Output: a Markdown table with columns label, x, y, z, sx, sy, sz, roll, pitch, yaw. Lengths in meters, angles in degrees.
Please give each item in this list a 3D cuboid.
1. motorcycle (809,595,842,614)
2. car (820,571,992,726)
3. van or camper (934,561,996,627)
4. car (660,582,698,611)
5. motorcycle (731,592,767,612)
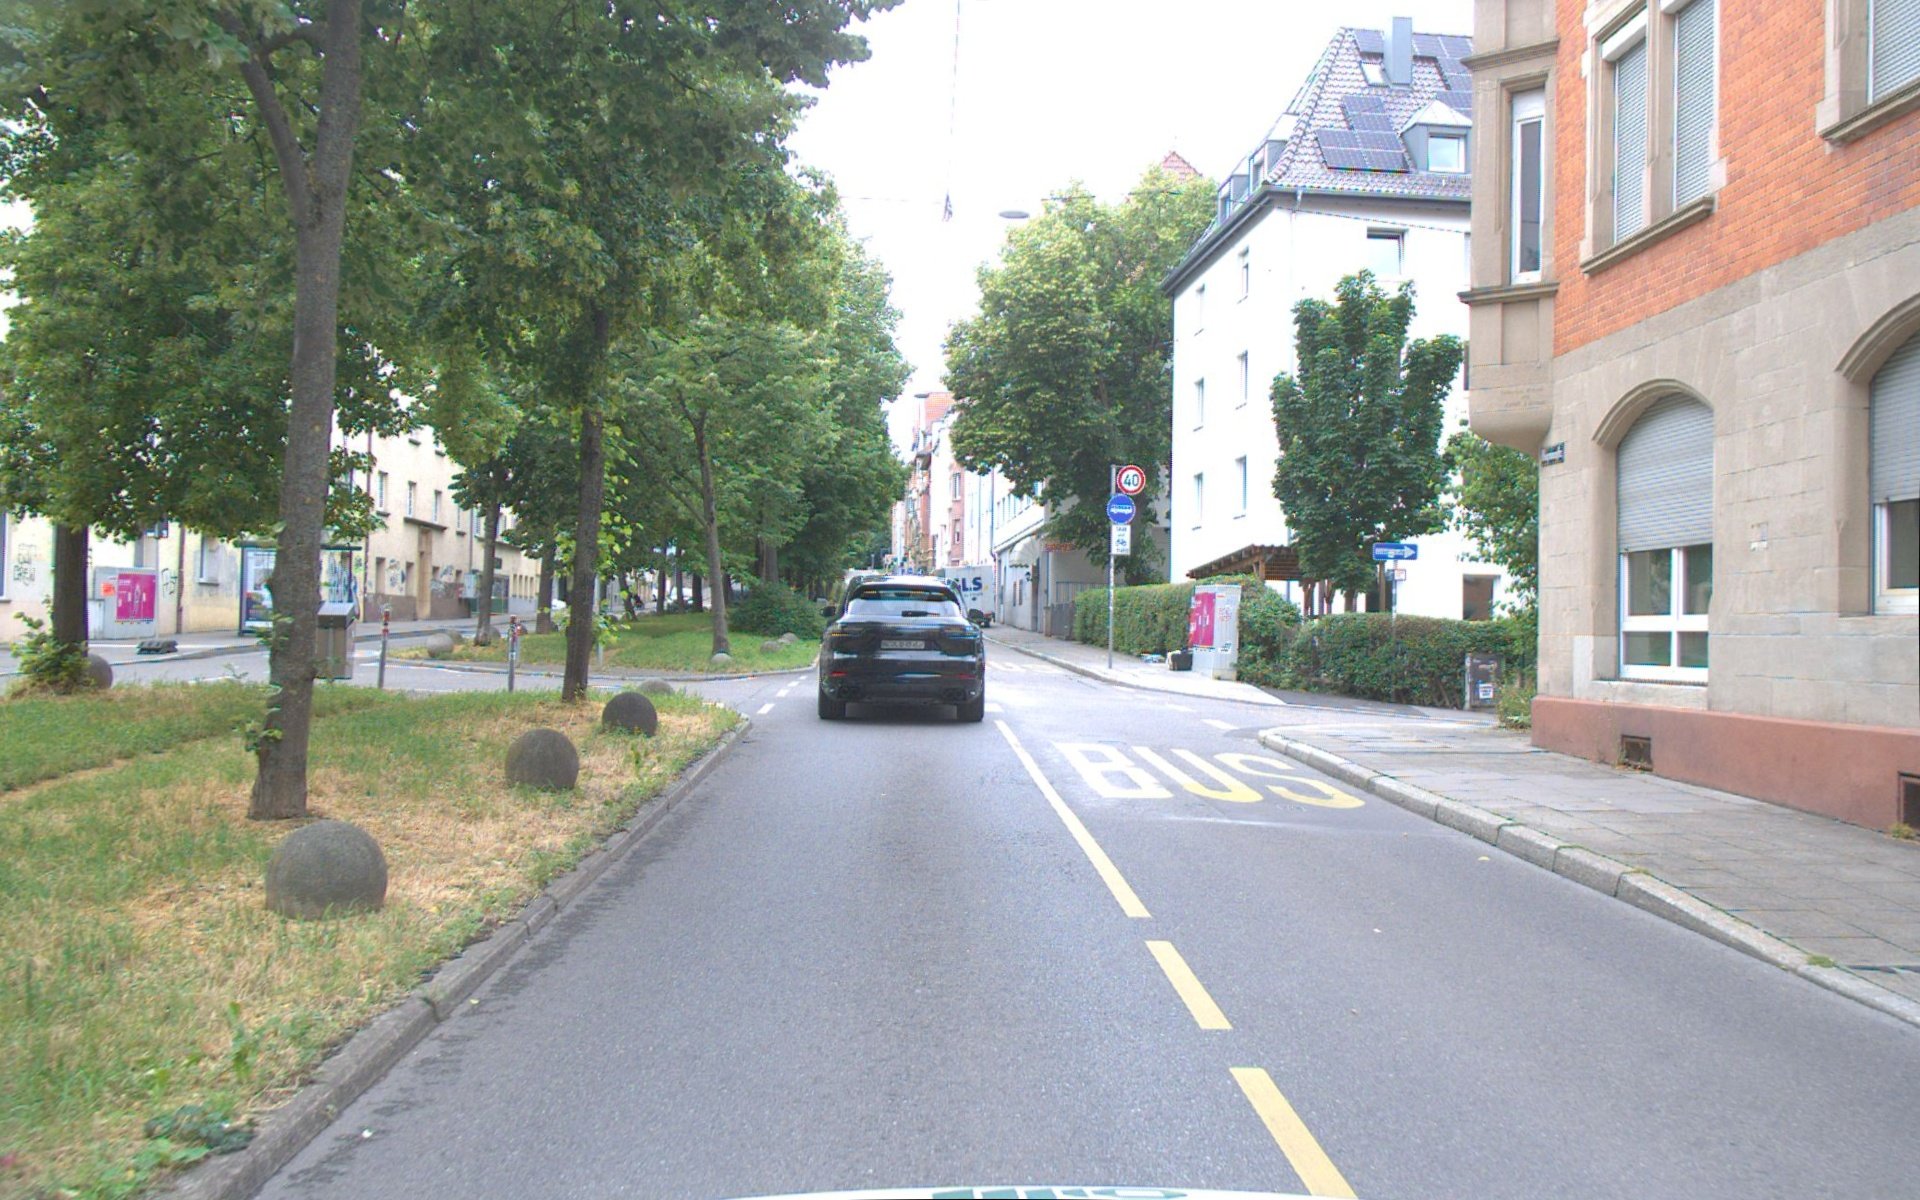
| label | x | y | z | sx | sy | sz | roll | pitch | yaw |
| --- | --- | --- | --- | --- | --- | --- | --- | --- | --- |
| motorcycle | -9.471 | 0.340 | 116.702 | 2.309 | 1.257 | 1.032 | 1 | 0 | -5 |
| car | -0.766 | 0.538 | 20.460 | 1.866 | 1.695 | 4.131 | 1 | 0 | -5 |
| van or camper | 0.162 | -0.268 | 77.374 | 2.431 | 2.852 | 7.233 | 1 | 0 | -3 |
| car | -18.060 | -0.241 | 106.503 | 1.911 | 1.656 | 4.360 | -6 | 0 | -5 |
| motorcycle | -14.526 | 0.150 | 113.869 | 2.336 | 1.340 | 1.044 | 1 | 0 | -5 |
